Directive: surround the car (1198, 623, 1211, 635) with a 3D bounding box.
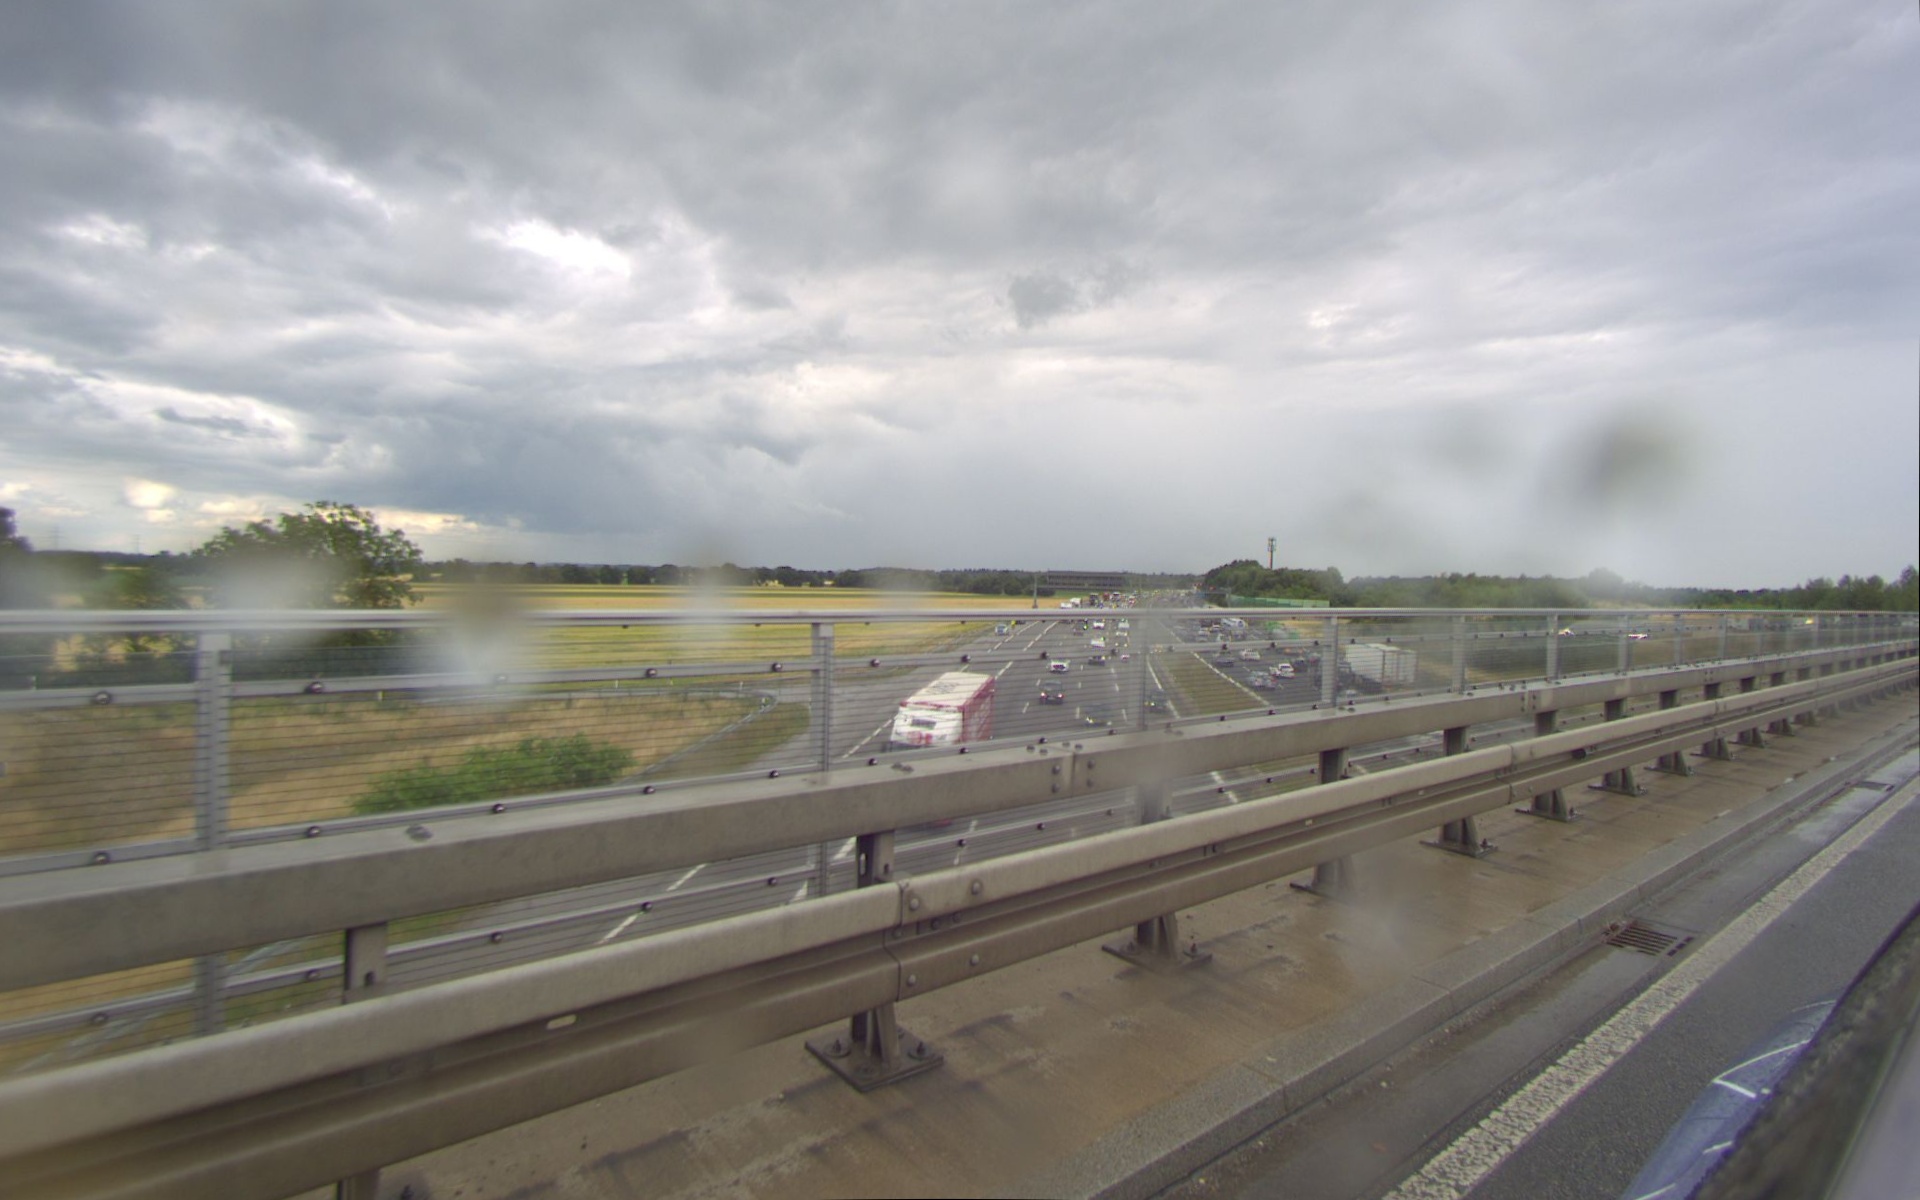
[{"bbox_3d":[41.407,4.913,171.495,1.826,1.797,4.712,0,0,9],"label":"car"}]

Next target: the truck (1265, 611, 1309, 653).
[{"bbox_3d":[45.610,4.335,141.758,3.241,5.230,15.593,0,0,8],"label":"truck"}]

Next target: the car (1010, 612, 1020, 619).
[{"bbox_3d":[11.239,3.198,207.160,1.784,1.454,4.714,0,0,8],"label":"car"}]

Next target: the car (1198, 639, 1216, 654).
[{"bbox_3d":[32.799,6.128,134.470,1.826,1.690,4.712,0,0,9],"label":"car"}]

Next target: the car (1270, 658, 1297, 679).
[{"bbox_3d":[31.646,6.711,99.168,1.826,1.690,4.712,0,0,9],"label":"car"}]

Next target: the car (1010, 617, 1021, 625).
[{"bbox_3d":[10.561,4.068,193.552,1.784,1.454,4.714,0,0,8],"label":"car"}]

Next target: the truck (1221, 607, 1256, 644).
[{"bbox_3d":[43.857,3.877,159.838,3.241,5.511,15.593,0,0,8],"label":"truck"}]

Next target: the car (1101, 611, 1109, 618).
[{"bbox_3d":[36.919,3.618,257.759,1.826,1.690,4.712,0,0,9],"label":"car"}]

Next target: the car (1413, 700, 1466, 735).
[{"bbox_3d":[31.643,7.711,66.911,1.826,1.690,4.712,0,0,9],"label":"car"}]

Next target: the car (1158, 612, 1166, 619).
[{"bbox_3d":[49.840,3.813,249.889,1.826,1.797,4.712,0,0,9],"label":"car"}]

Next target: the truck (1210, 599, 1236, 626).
[{"bbox_3d":[55.030,2.598,212.346,3.435,5.420,15.593,0,0,8],"label":"truck"}]

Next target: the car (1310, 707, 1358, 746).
[{"bbox_3d":[22.727,7.663,61.645,1.826,1.690,4.712,0,0,9],"label":"car"}]

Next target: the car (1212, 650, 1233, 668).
[{"bbox_3d":[28.925,6.523,111.598,1.826,1.690,4.712,0,0,9],"label":"car"}]

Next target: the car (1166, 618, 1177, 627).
[{"bbox_3d":[41.723,4.416,199.737,1.826,1.797,4.712,0,0,9],"label":"car"}]

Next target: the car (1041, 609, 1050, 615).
[{"bbox_3d":[19.186,2.688,226.922,1.784,1.454,4.714,0,0,8],"label":"car"}]

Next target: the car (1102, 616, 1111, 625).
[{"bbox_3d":[31.191,4.385,215.165,1.826,1.690,4.712,0,0,9],"label":"car"}]

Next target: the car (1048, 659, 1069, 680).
[{"bbox_3d":[9.618,6.756,98.422,1.784,1.690,4.713,0,0,8],"label":"car"}]

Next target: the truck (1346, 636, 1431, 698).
[{"bbox_3d":[38.927,5.878,92.642,3.545,4.594,15.587,0,0,9],"label":"truck"}]

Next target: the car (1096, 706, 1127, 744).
[{"bbox_3d":[9.320,7.690,62.458,1.784,1.690,4.713,0,0,8],"label":"car"}]

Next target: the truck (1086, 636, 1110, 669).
[{"bbox_3d":[15.480,5.765,113.275,2.553,3.219,8.374,0,0,9],"label":"truck"}]

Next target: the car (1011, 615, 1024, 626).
[{"bbox_3d":[9.794,3.467,173.212,1.826,1.690,4.712,0,0,9],"label":"car"}]

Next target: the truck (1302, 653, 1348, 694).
[{"bbox_3d":[33.387,6.633,92.844,2.176,3.003,9.285,0,0,9],"label":"truck"}]

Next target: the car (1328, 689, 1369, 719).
[{"bbox_3d":[28.370,7.574,74.046,1.826,1.690,4.712,0,0,9],"label":"car"}]

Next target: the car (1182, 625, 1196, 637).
[{"bbox_3d":[34.847,4.752,154.012,1.826,1.690,4.712,0,0,9],"label":"car"}]

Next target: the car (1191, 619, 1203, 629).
[{"bbox_3d":[44.756,4.500,191.027,1.826,1.797,4.712,0,0,9],"label":"car"}]

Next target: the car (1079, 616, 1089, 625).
[{"bbox_3d":[25.519,4.171,208.282,1.826,1.690,4.712,0,0,9],"label":"car"}]

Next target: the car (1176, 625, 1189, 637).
[{"bbox_3d":[36.172,5.041,164.660,1.826,1.797,4.712,0,0,9],"label":"car"}]

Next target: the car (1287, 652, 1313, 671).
[{"bbox_3d":[36.450,6.542,108.561,1.826,1.690,4.712,0,0,9],"label":"car"}]

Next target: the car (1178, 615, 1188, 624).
[{"bbox_3d":[50.693,4.376,229.947,1.826,1.797,4.712,0,0,9],"label":"car"}]

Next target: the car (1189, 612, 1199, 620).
[{"bbox_3d":[57.189,3.843,247.343,1.826,1.797,4.712,0,0,9],"label":"car"}]

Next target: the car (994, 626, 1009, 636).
[{"bbox_3d":[6.475,4.829,157.422,1.784,1.454,4.714,0,0,8],"label":"car"}]

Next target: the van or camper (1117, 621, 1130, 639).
[{"bbox_3d":[25.960,4.726,160.632,2.026,2.481,7.312,0,0,9],"label":"van or camper"}]

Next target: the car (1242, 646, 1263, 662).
[{"bbox_3d":[34.904,6.409,120.875,1.826,1.690,4.712,0,0,9],"label":"car"}]

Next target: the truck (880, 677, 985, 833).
[{"bbox_3d":[-0.883,5.824,40.610,2.641,4.685,9.731,0,0,8],"label":"truck"}]

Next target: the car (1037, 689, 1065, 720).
[{"bbox_3d":[6.614,7.498,73.219,1.784,1.690,4.713,0,0,8],"label":"car"}]

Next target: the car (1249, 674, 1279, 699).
[{"bbox_3d":[25.980,7.356,86.558,1.826,1.690,4.712,0,0,9],"label":"car"}]

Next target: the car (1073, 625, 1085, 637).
[{"bbox_3d":[19.514,5.042,165.598,1.826,1.690,4.712,0,0,9],"label":"car"}]

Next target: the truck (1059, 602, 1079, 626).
[{"bbox_3d":[22.868,2.844,211.835,2.751,4.962,12.710,0,0,12],"label":"truck"}]

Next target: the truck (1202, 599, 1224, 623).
[{"bbox_3d":[59.442,2.557,238.347,3.435,5.420,15.593,0,0,8],"label":"truck"}]

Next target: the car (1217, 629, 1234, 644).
[{"bbox_3d":[37.769,5.178,143.922,1.826,1.797,4.712,0,0,9],"label":"car"}]

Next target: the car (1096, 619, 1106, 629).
[{"bbox_3d":[26.698,4.560,191.445,1.826,1.690,4.712,0,0,9],"label":"car"}]

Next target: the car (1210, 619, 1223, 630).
[{"bbox_3d":[47.043,4.511,185.738,1.826,1.797,4.712,0,0,9],"label":"car"}]
